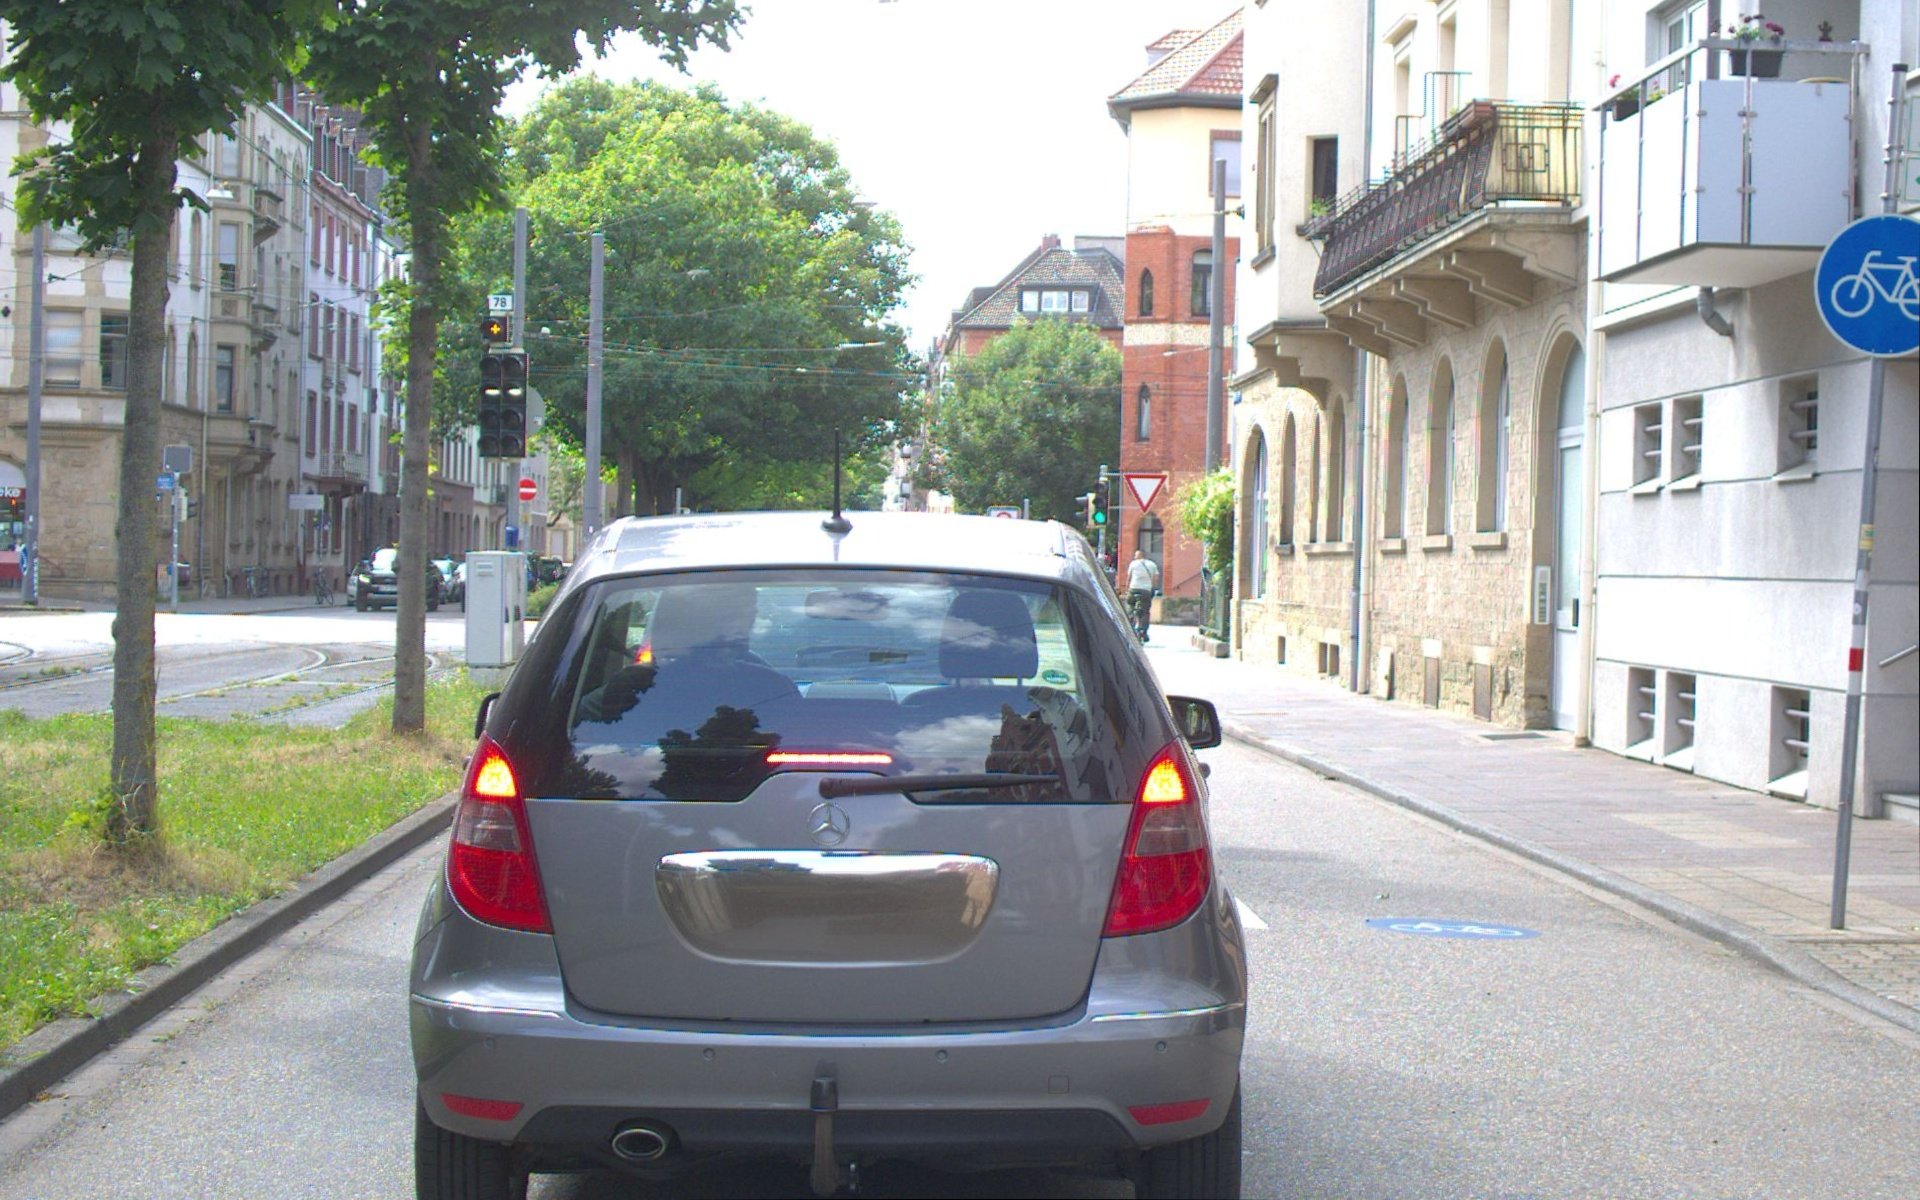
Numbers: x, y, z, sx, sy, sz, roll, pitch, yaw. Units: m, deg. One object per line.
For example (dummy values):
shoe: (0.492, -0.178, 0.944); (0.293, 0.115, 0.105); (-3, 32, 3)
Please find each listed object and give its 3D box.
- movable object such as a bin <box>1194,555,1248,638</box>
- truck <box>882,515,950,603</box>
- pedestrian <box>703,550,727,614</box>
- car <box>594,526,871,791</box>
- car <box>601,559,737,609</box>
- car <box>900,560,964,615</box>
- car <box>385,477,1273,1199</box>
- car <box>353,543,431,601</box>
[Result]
movable object such as a bin: (4.668, -0.065, 61.554); (0.714, 1.467, 0.983); (1, 0, -10)
truck: (-1.507, -1.400, 119.024); (2.123, 2.960, 4.000); (1, 0, 2)
pedestrian: (-6.629, -0.480, 93.122); (0.493, 1.719, 0.654); (1, 0, -14)
car: (-1.525, 0.363, 24.188); (1.722, 1.700, 3.677); (1, 0, -1)
car: (-8.540, -0.466, 100.675); (1.969, 1.334, 3.999); (1, 1, -40)
car: (-0.845, -0.404, 106.075); (1.752, 1.627, 3.499); (2, 1, 2)
car: (-0.278, 0.554, 8.577); (1.722, 1.600, 3.677); (1, 0, -1)
car: (-16.135, -0.797, 97.779); (1.993, 1.612, 4.001); (1, 0, -7)
